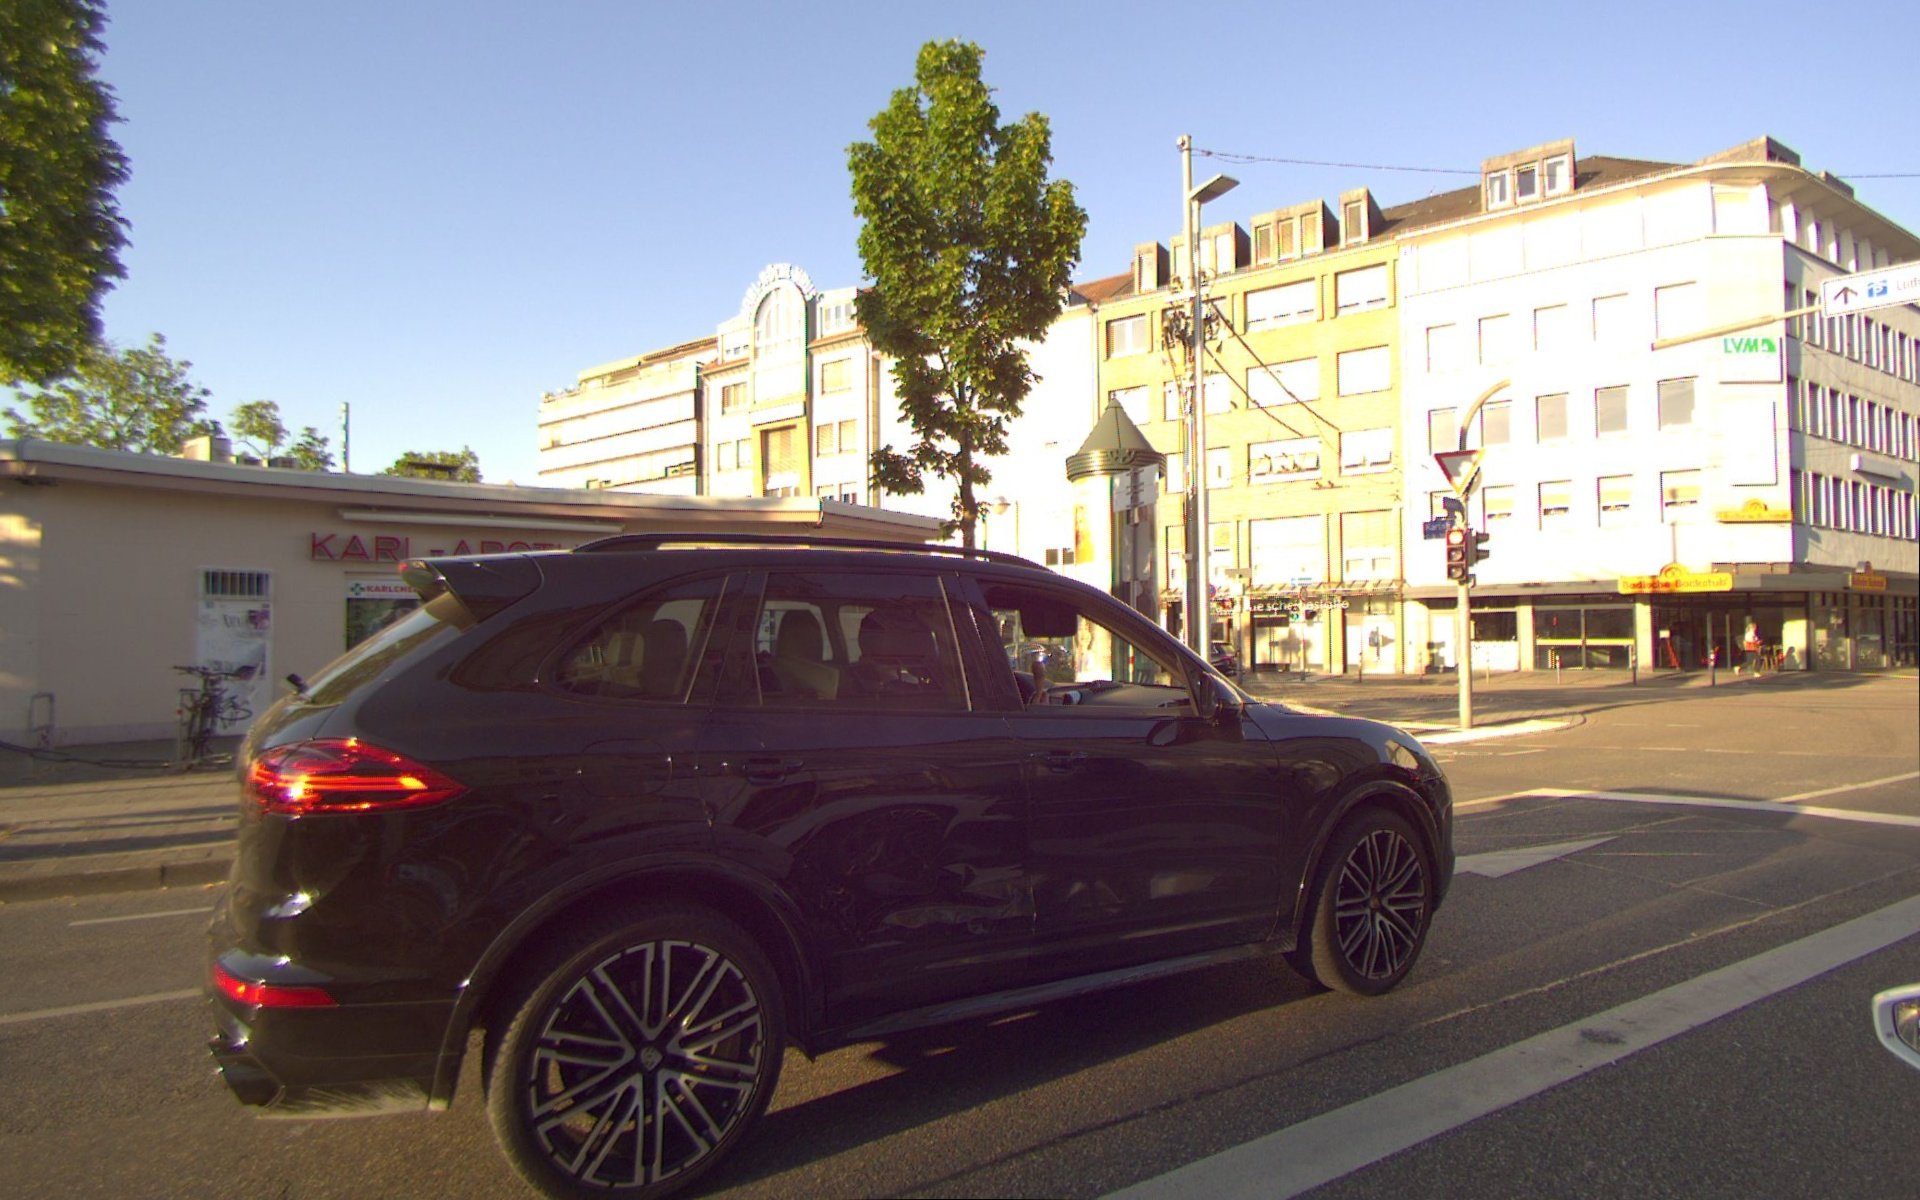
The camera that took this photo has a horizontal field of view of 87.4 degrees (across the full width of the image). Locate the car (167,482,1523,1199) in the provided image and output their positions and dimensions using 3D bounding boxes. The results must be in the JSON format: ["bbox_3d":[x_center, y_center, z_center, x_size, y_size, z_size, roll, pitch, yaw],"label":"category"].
[{"bbox_3d":[-0.066,0.703,3.934,4.508,1.736,1.940,1,-3,-31],"label":"car"}]

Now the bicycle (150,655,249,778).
[{"bbox_3d":[-8.649,1.270,11.493,0.625,1.273,1.846,1,-3,-29],"label":"bicycle"}]

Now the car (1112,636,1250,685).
[{"bbox_3d":[7.691,2.072,35.204,4.382,1.616,1.870,-2,-2,39],"label":"car"}]

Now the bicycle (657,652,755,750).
[{"bbox_3d":[-3.709,1.396,14.487,0.778,1.273,2.433,1,-3,-29],"label":"bicycle"}]

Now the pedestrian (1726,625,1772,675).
[{"bbox_3d":[24.981,1.590,31.816,0.931,1.557,0.908,-1,-2,27],"label":"pedestrian"}]
